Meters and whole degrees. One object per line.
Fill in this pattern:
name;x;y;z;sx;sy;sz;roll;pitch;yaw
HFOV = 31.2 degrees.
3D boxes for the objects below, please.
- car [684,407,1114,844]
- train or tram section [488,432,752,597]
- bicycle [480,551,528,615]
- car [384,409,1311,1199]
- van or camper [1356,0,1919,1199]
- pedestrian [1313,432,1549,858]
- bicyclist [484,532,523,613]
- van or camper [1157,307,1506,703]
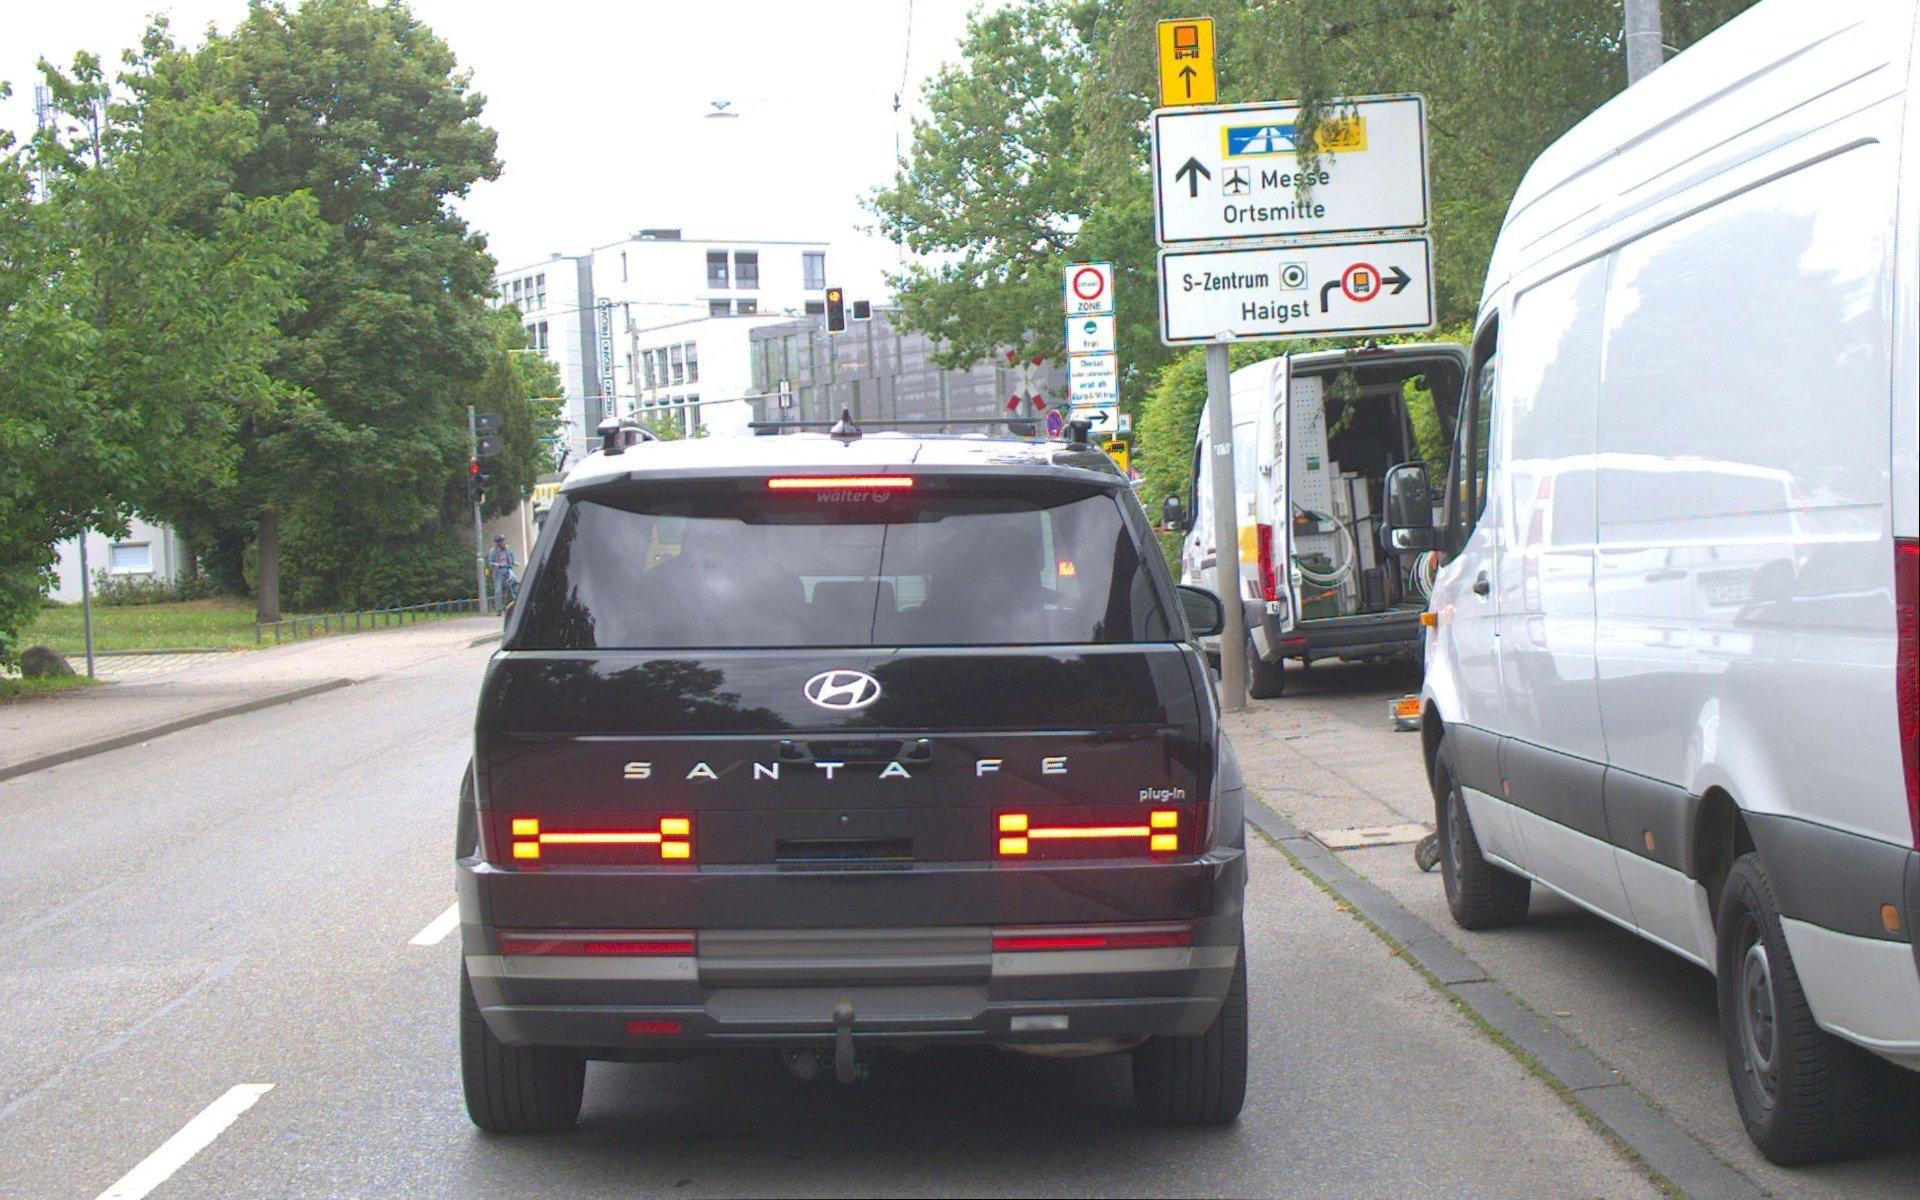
car;-0.330;0.075;17.919;1.963;1.994;4.000;-1;1;-1
train or tram section;-10.954;-2.474;107.567;3.192;4.507;18.688;0;0;-22
bicycle;-9.394;-0.334;70.801;0.675;1.275;2.501;-1;0;-14
car;-0.286;0.414;9.371;1.963;1.705;4.000;-1;1;-1
van or camper;2.570;-0.147;9.147;1.963;2.618;6.359;-4;1;-1
pedestrian;2.007;0.188;14.676;0.617;1.737;0.605;-5;1;-30
bicyclist;-9.402;-0.555;70.831;0.675;1.653;0.859;-1;-1;-14
van or camper;2.889;-0.758;27.969;1.963;2.787;5.287;-4;1;-1
